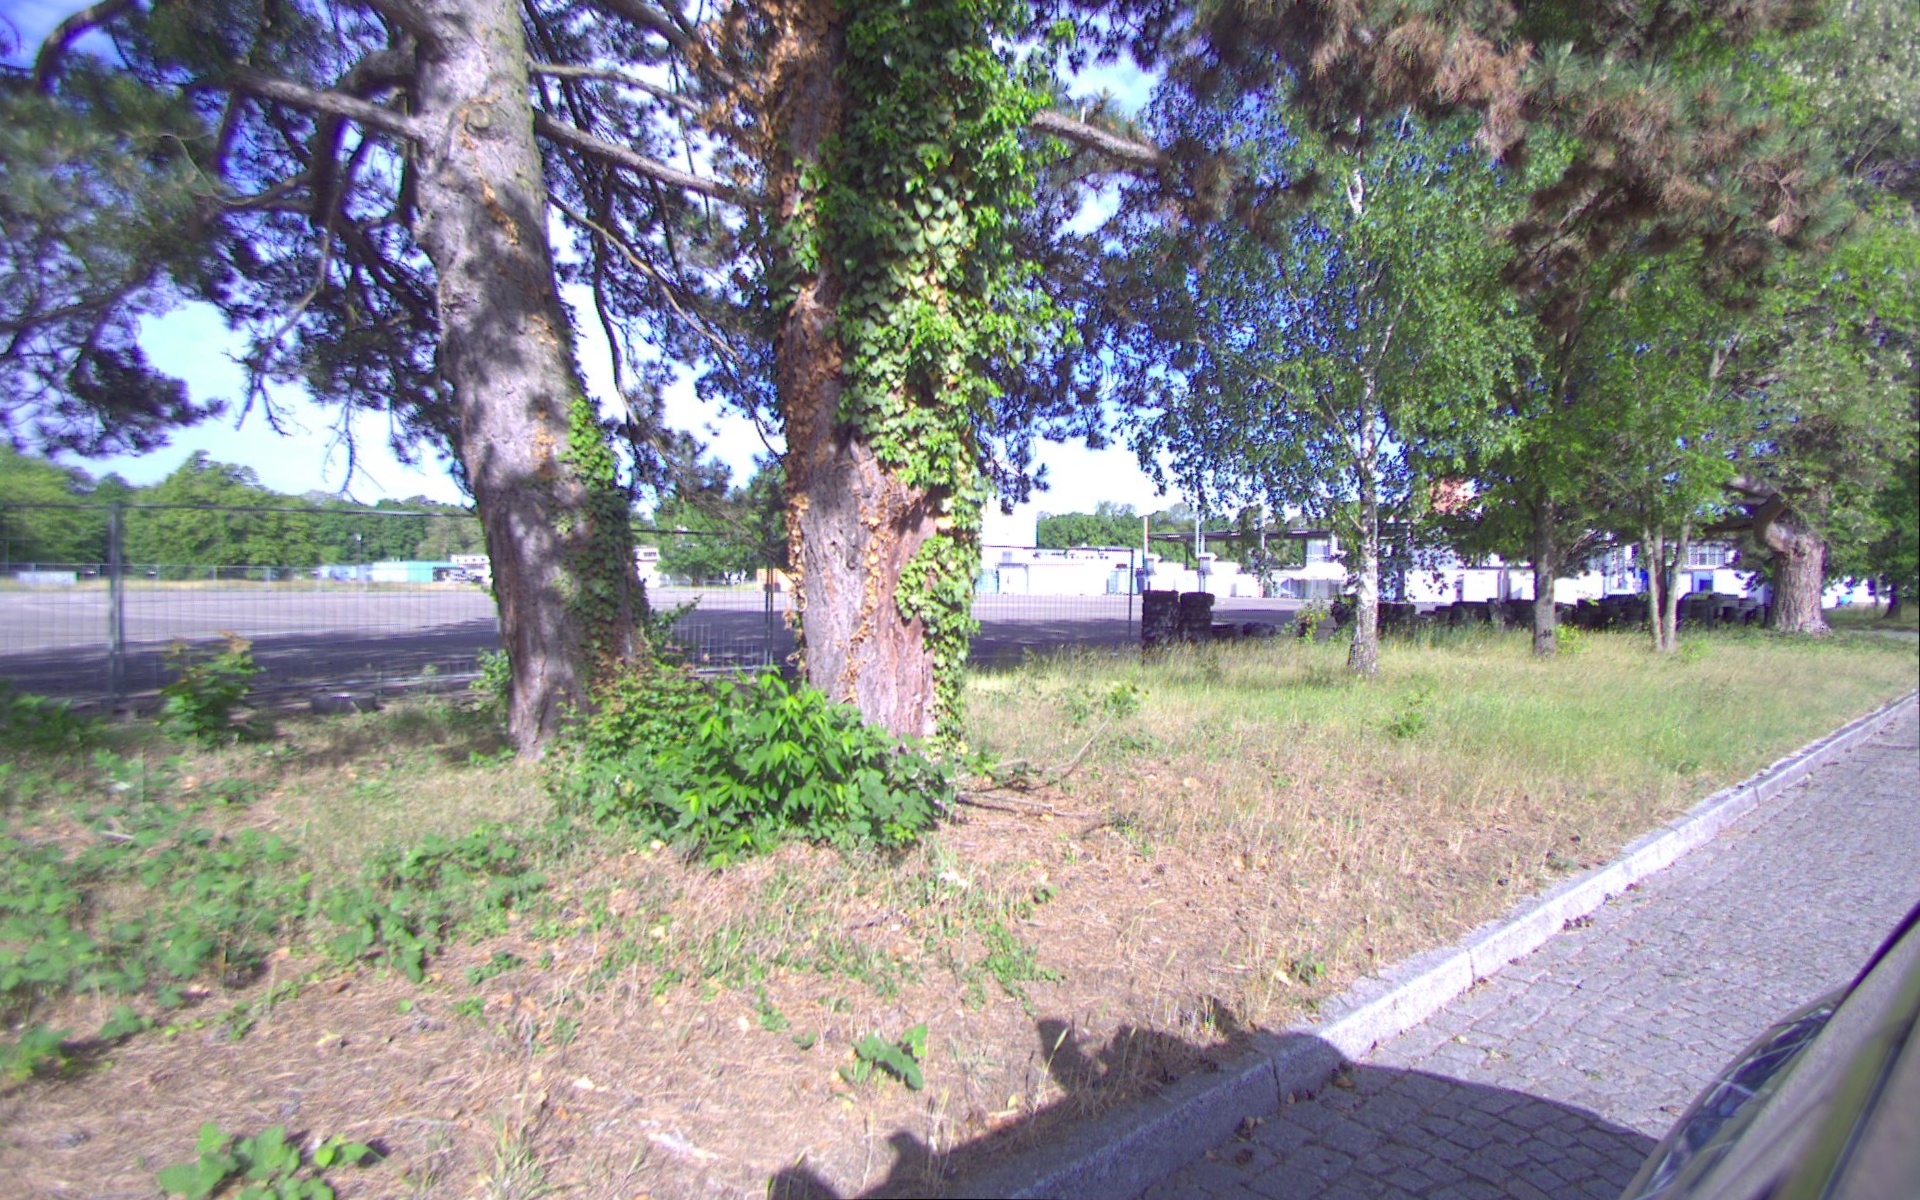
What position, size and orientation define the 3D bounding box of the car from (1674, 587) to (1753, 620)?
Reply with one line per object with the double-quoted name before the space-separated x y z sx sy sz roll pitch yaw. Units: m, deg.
"car" 35.024 0.130 47.021 3.924 1.467 1.848 0 1 -36
